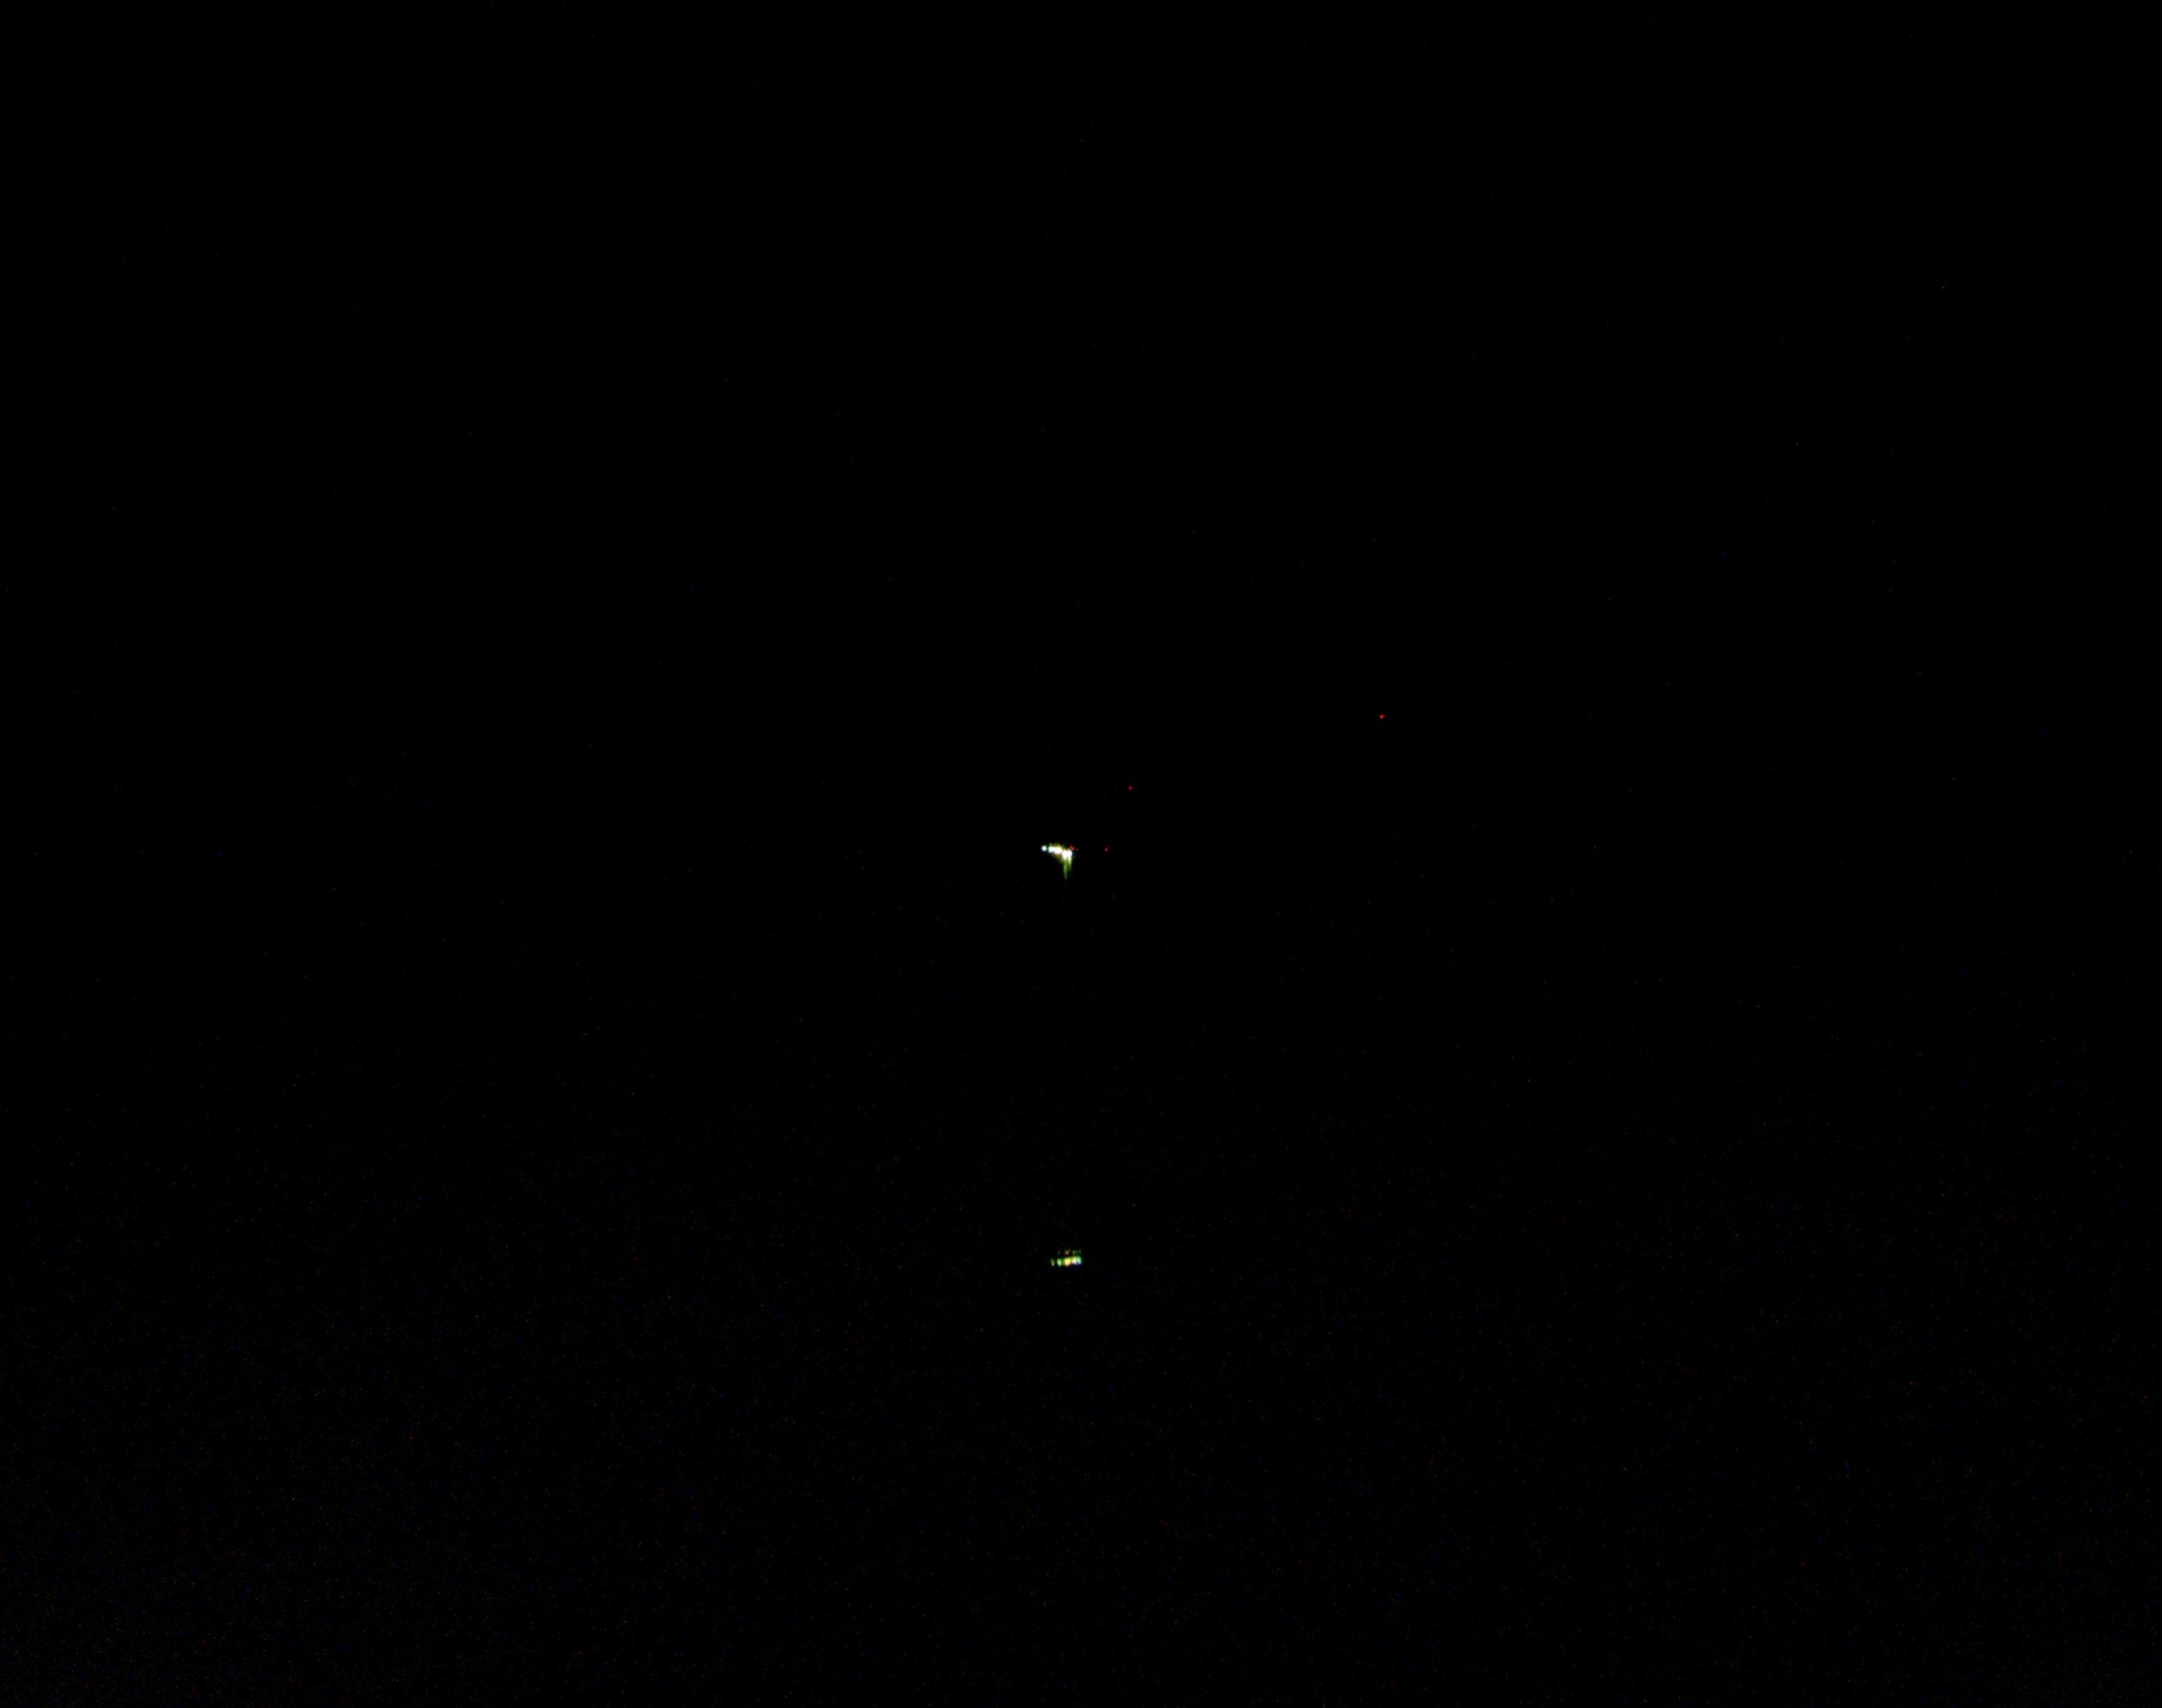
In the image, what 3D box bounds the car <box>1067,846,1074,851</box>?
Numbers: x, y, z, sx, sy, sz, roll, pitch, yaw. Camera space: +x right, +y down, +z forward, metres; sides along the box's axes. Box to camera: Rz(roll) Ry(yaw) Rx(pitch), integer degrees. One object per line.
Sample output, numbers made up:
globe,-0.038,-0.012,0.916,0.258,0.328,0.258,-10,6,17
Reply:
car,-3.356,-1.833,243.636,1.860,1.609,3.998,-2,1,-3
